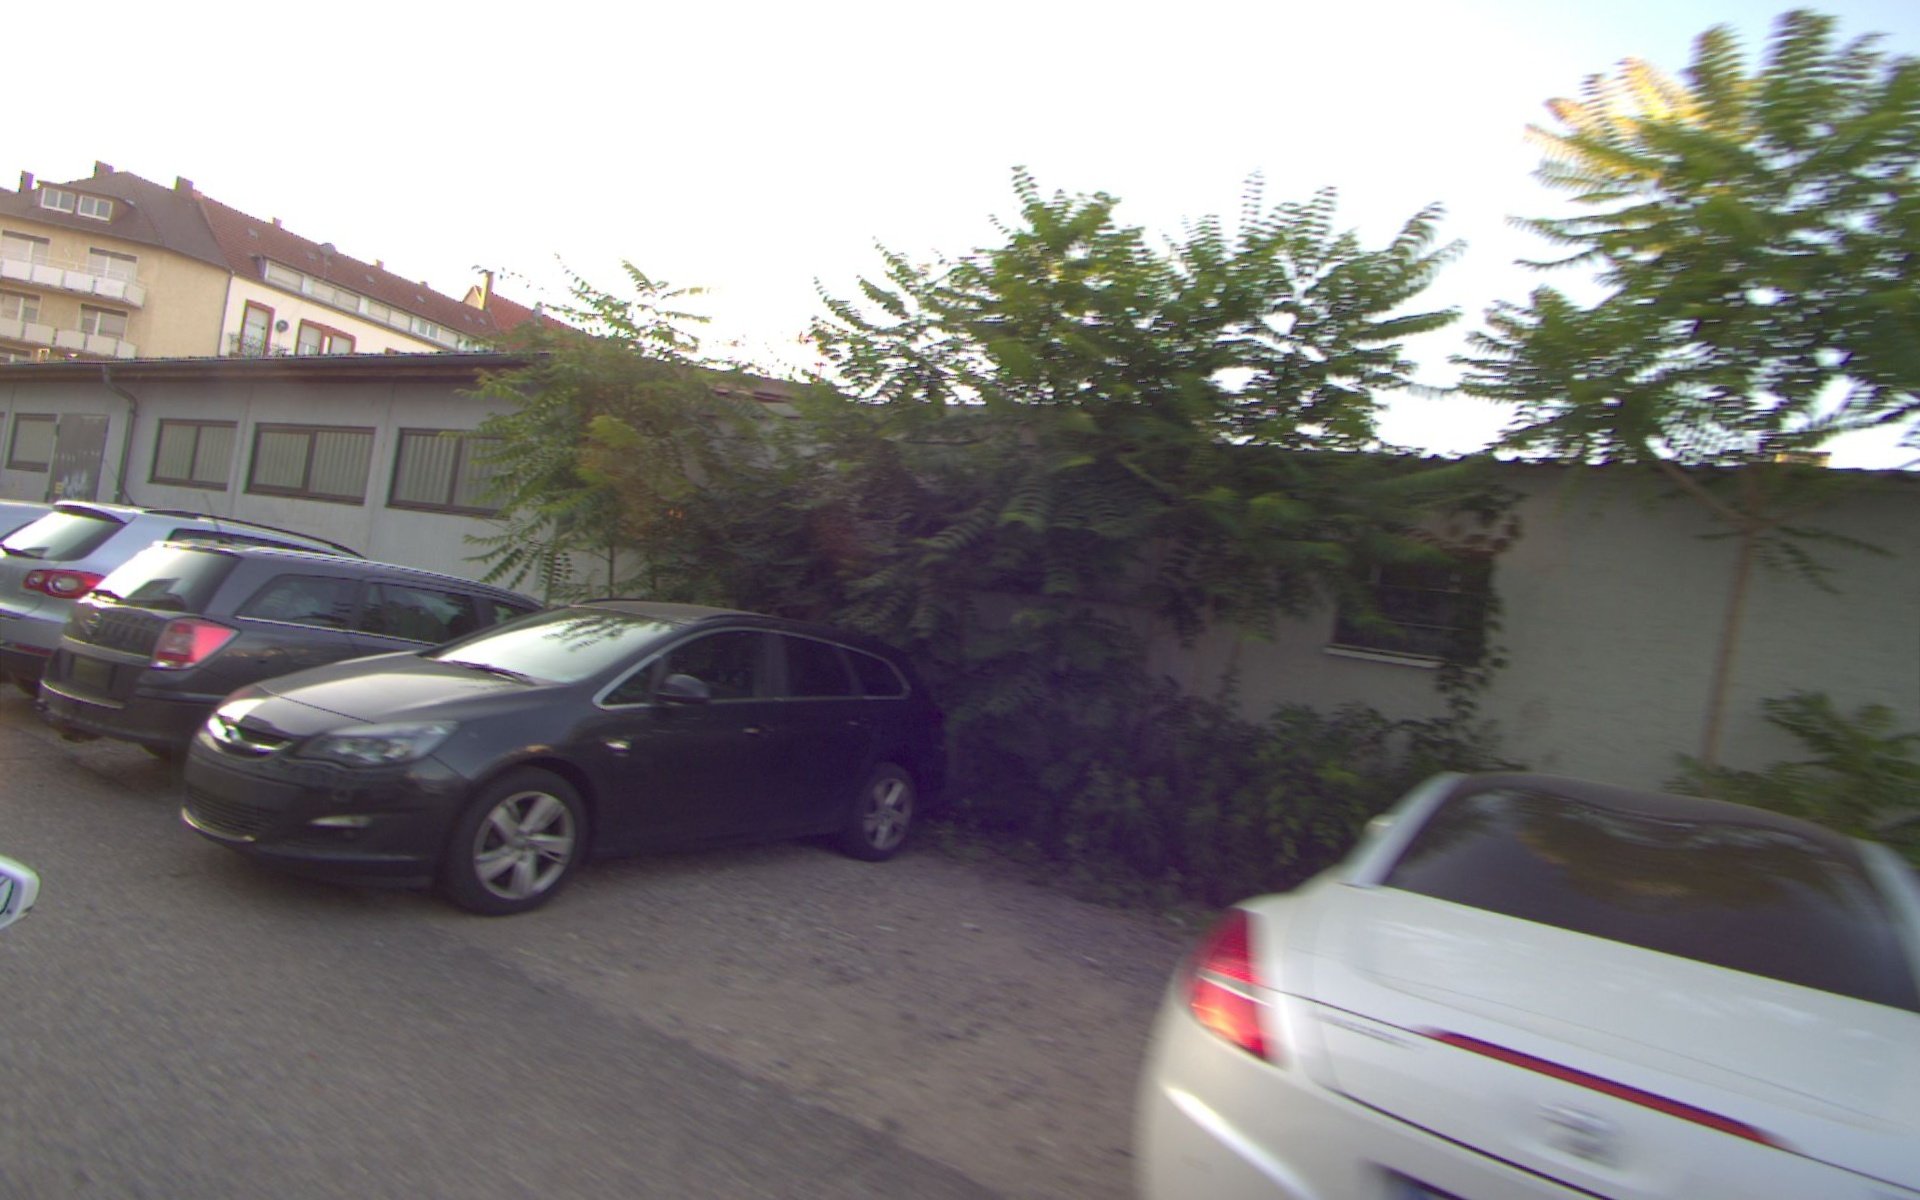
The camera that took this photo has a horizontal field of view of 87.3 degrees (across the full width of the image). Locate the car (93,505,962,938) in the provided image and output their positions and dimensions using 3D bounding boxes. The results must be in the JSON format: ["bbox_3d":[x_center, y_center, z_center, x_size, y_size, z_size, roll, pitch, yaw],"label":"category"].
[{"bbox_3d":[-1.985,0.671,5.882,1.860,1.518,4.213,6,-5,34],"label":"car"}]

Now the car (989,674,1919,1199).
[{"bbox_3d":[2.030,1.222,3.278,1.795,1.381,4.210,7,-4,36],"label":"car"}]

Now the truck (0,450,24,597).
[{"bbox_3d":[-17.541,-1.543,16.151,5.617,2.225,2.102,6,-3,32],"label":"truck"}]

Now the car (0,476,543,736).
[{"bbox_3d":[-6.009,0.194,8.750,1.796,1.636,3.998,7,-4,29],"label":"car"}]

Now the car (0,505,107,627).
[{"bbox_3d":[-14.465,-0.724,13.761,1.861,1.552,3.768,8,-3,33],"label":"car"}]

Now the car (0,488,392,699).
[{"bbox_3d":[-8.330,-0.052,10.116,1.906,1.626,3.996,7,-4,31],"label":"car"}]

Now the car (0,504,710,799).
[{"bbox_3d":[-4.002,0.485,7.280,1.797,1.460,3.995,6,-5,32],"label":"car"}]

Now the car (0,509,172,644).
[{"bbox_3d":[-12.454,-0.460,12.424,1.814,1.459,3.771,6,-5,31],"label":"car"}]
